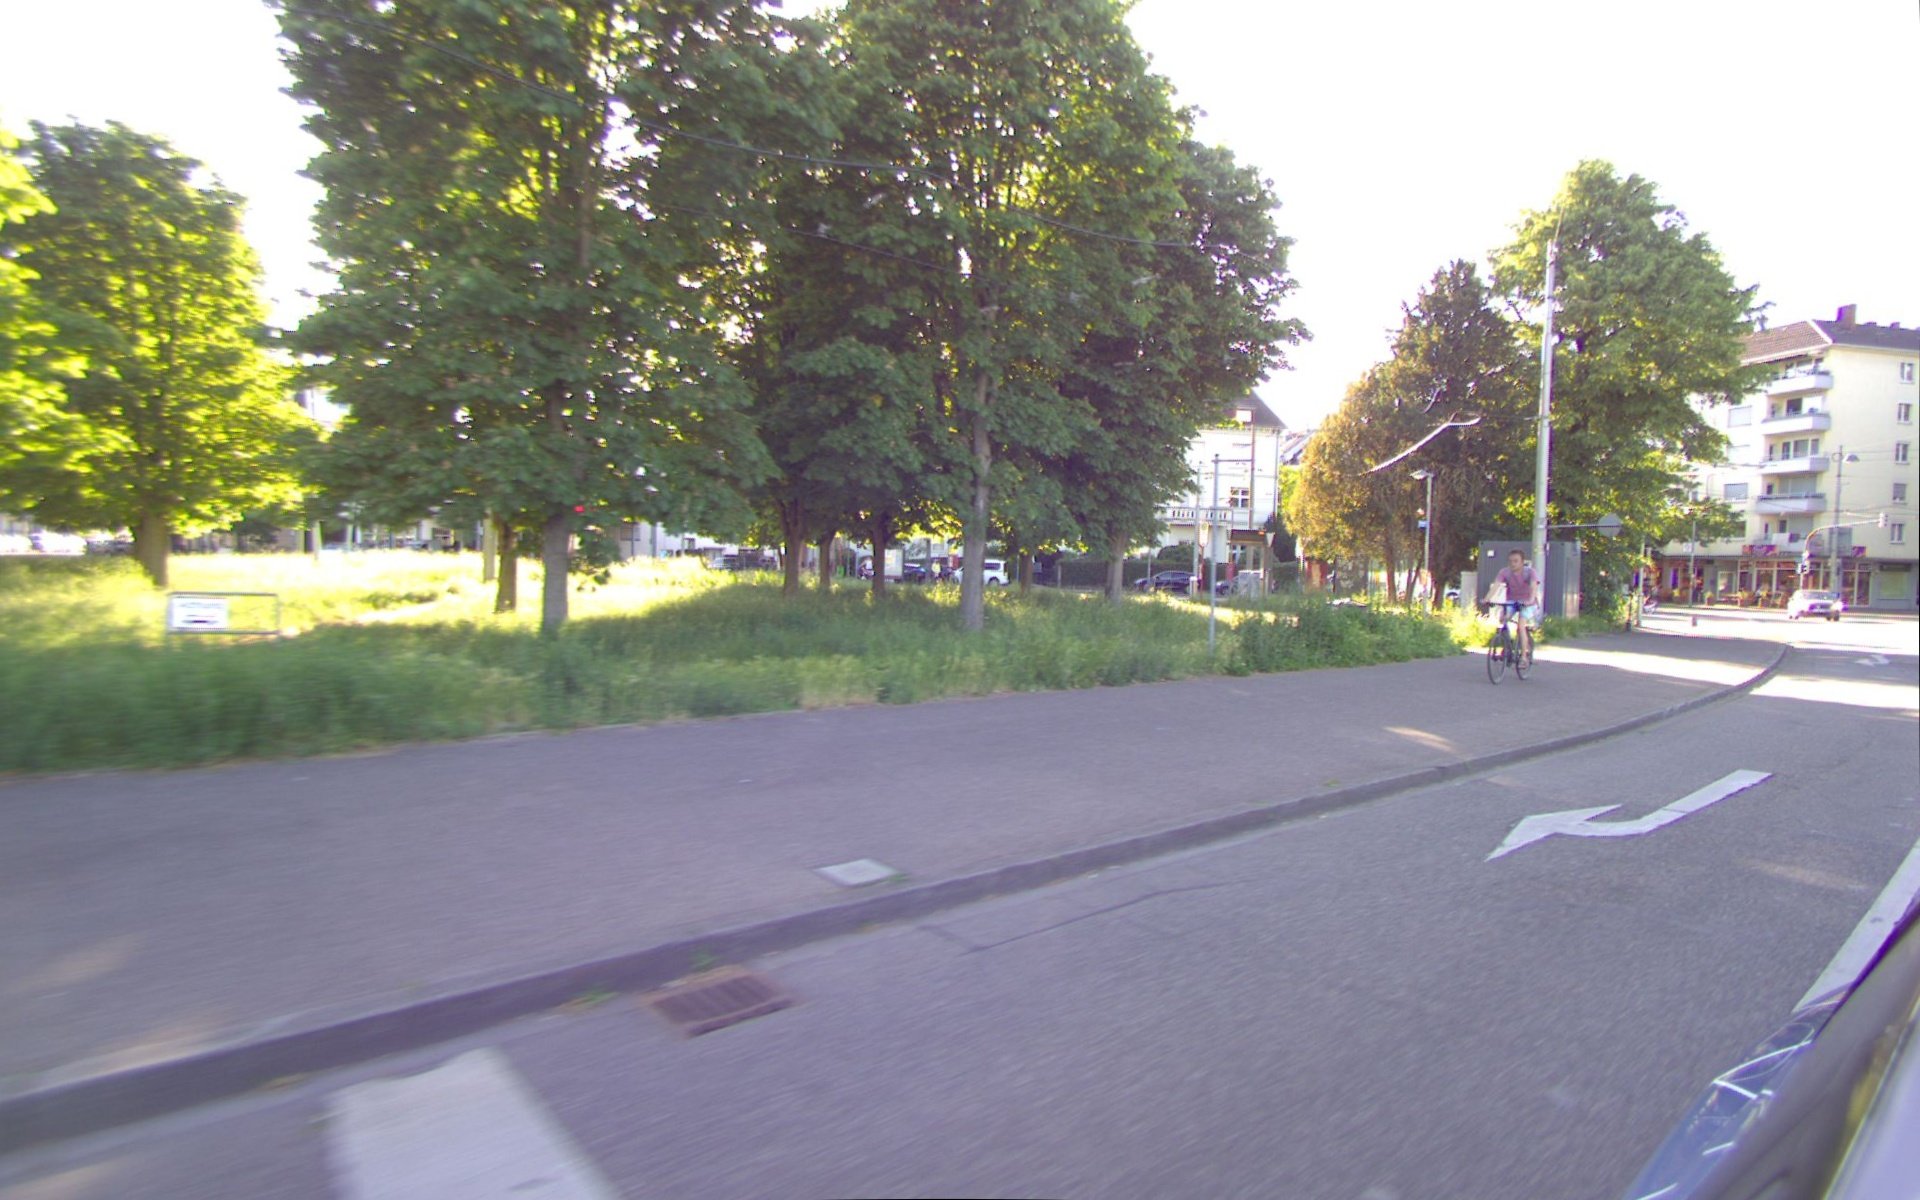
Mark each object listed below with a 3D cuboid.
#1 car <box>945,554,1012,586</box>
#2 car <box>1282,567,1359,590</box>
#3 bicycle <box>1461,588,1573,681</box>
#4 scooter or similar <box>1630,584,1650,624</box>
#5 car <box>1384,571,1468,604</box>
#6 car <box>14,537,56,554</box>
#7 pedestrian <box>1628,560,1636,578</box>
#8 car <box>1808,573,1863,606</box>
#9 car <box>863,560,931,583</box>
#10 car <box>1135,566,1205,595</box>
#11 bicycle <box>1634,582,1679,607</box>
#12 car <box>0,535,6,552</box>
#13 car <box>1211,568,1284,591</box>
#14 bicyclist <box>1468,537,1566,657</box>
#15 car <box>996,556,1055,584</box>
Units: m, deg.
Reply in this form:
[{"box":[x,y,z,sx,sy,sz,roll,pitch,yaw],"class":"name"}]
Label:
[{"box":[1.251,-1.959,66.356,4.256,1.988,1.908,-1,1,5],"class":"car"},{"box":[22.526,-1.357,63.274,4.111,1.364,1.999,-1,1,4],"class":"car"},{"box":[7.957,0.450,14.431,1.966,1.207,0.720,0,3,-41],"class":"bicycle"},{"box":[21.971,0.132,32.671,0.383,1.233,1.809,5,2,36],"class":"scooter or similar"},{"box":[28.509,-0.780,62.027,4.173,1.880,1.998,-1,1,4],"class":"car"},{"box":[-99.125,-5.817,108.518,1.958,1.660,4.009,-1,2,-20],"class":"car"},{"box":[51.433,-2.364,77.443,0.485,1.293,0.384,2,-1,-38],"class":"pedestrian"},{"box":[40.795,-0.494,47.220,1.694,1.459,3.596,1,1,38],"class":"car"},{"box":[-4.176,-1.919,67.476,4.300,1.445,1.690,-1,1,5],"class":"car"},{"box":[13.341,-1.265,64.591,4.111,1.738,1.999,-1,1,4],"class":"car"},{"box":[32.791,-0.253,47.653,1.769,1.141,0.629,1,1,-7],"class":"bicycle"},{"box":[-95.806,-5.591,99.122,1.958,1.660,4.009,-1,2,-20],"class":"car"},{"box":[18.083,-1.317,63.831,4.111,1.361,1.999,-1,1,4],"class":"car"},{"box":[7.892,-0.060,14.346,1.129,1.619,0.813,0,3,-41],"class":"bicyclist"},{"box":[4.683,-2.156,72.335,4.111,1.942,1.998,-1,1,4],"class":"car"}]
